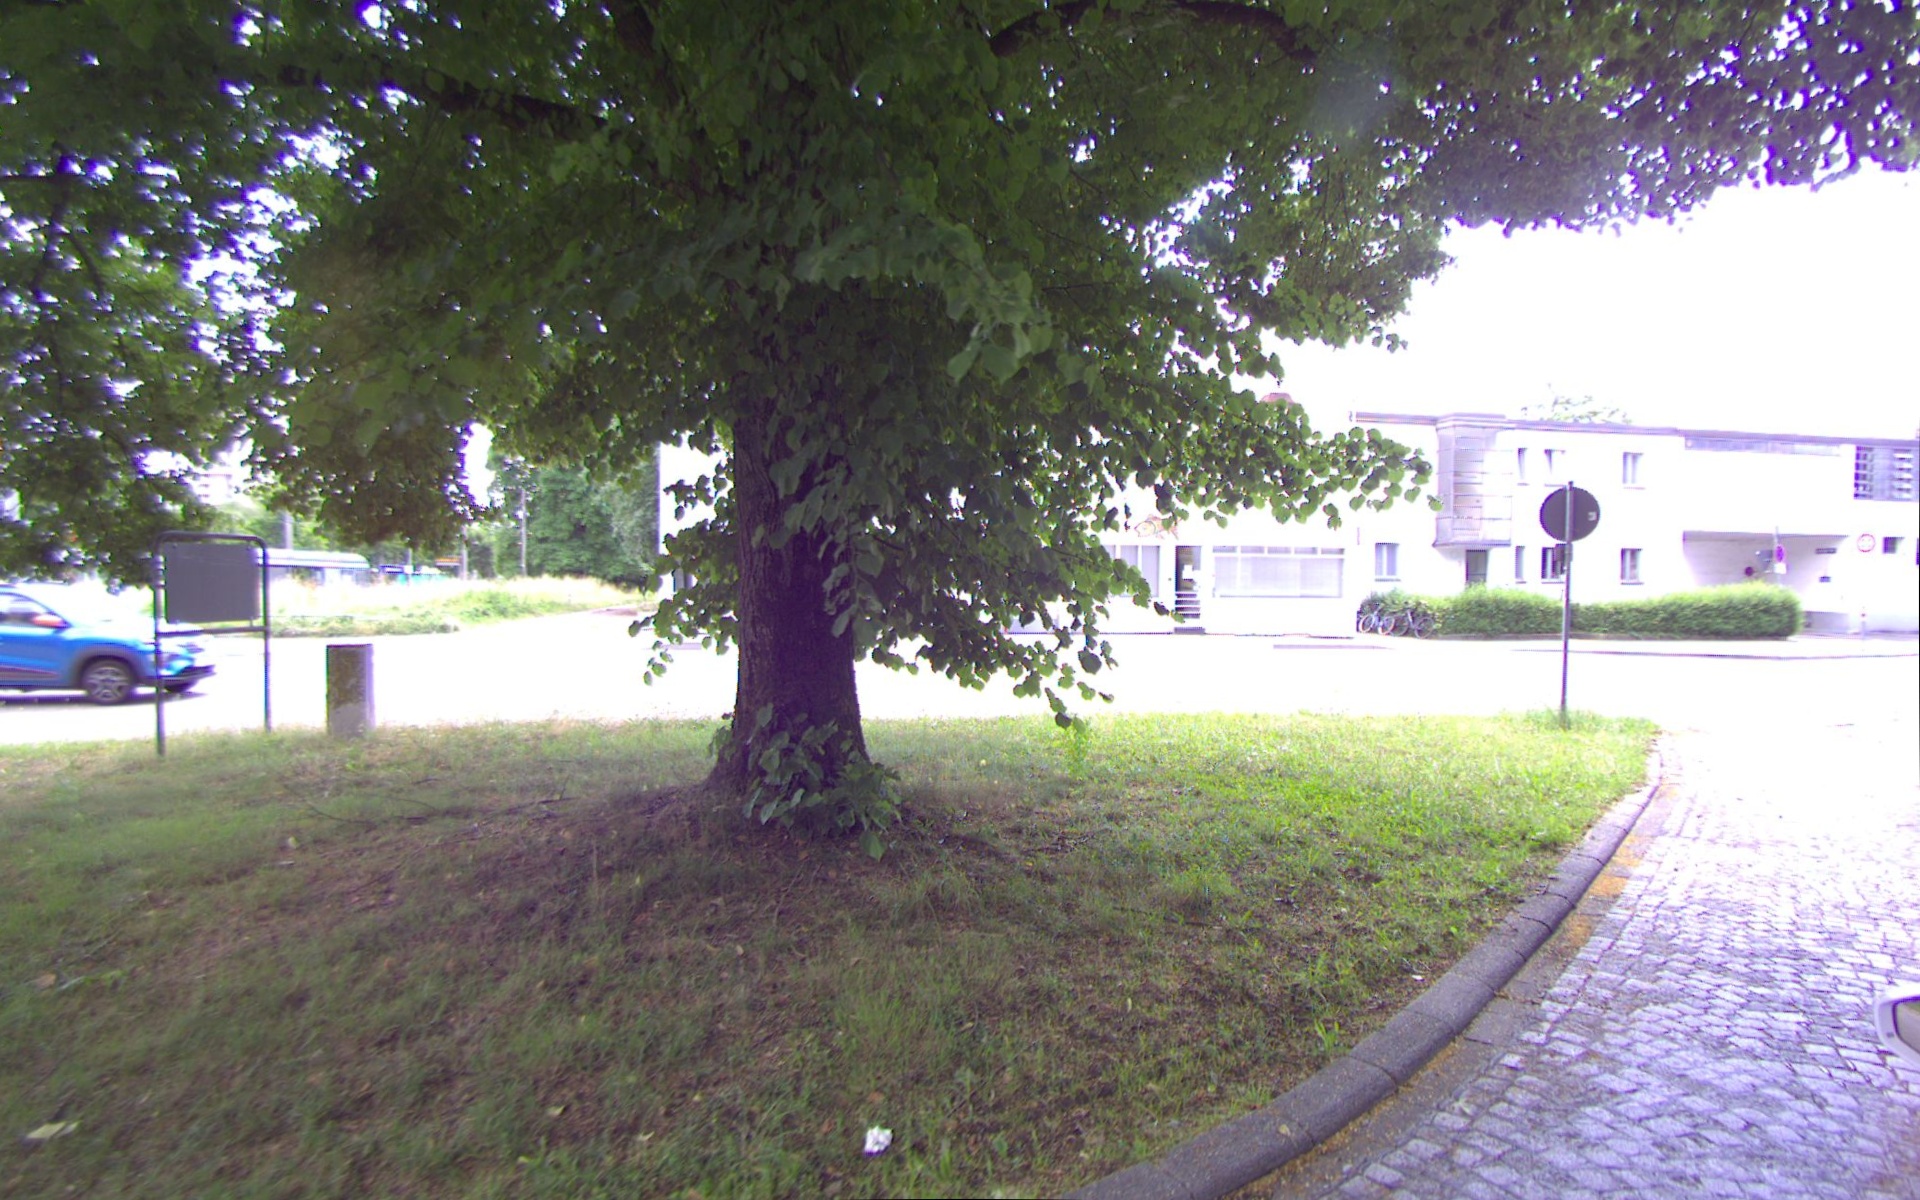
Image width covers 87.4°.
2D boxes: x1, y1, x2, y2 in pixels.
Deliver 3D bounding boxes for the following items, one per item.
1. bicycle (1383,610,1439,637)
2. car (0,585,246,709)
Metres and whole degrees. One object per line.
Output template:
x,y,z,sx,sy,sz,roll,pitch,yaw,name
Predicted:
13.780,0.712,30.738,0.406,0.768,1.663,0,1,-27,bicycle
-11.685,0.563,12.965,3.637,1.484,1.602,-1,1,-10,car
